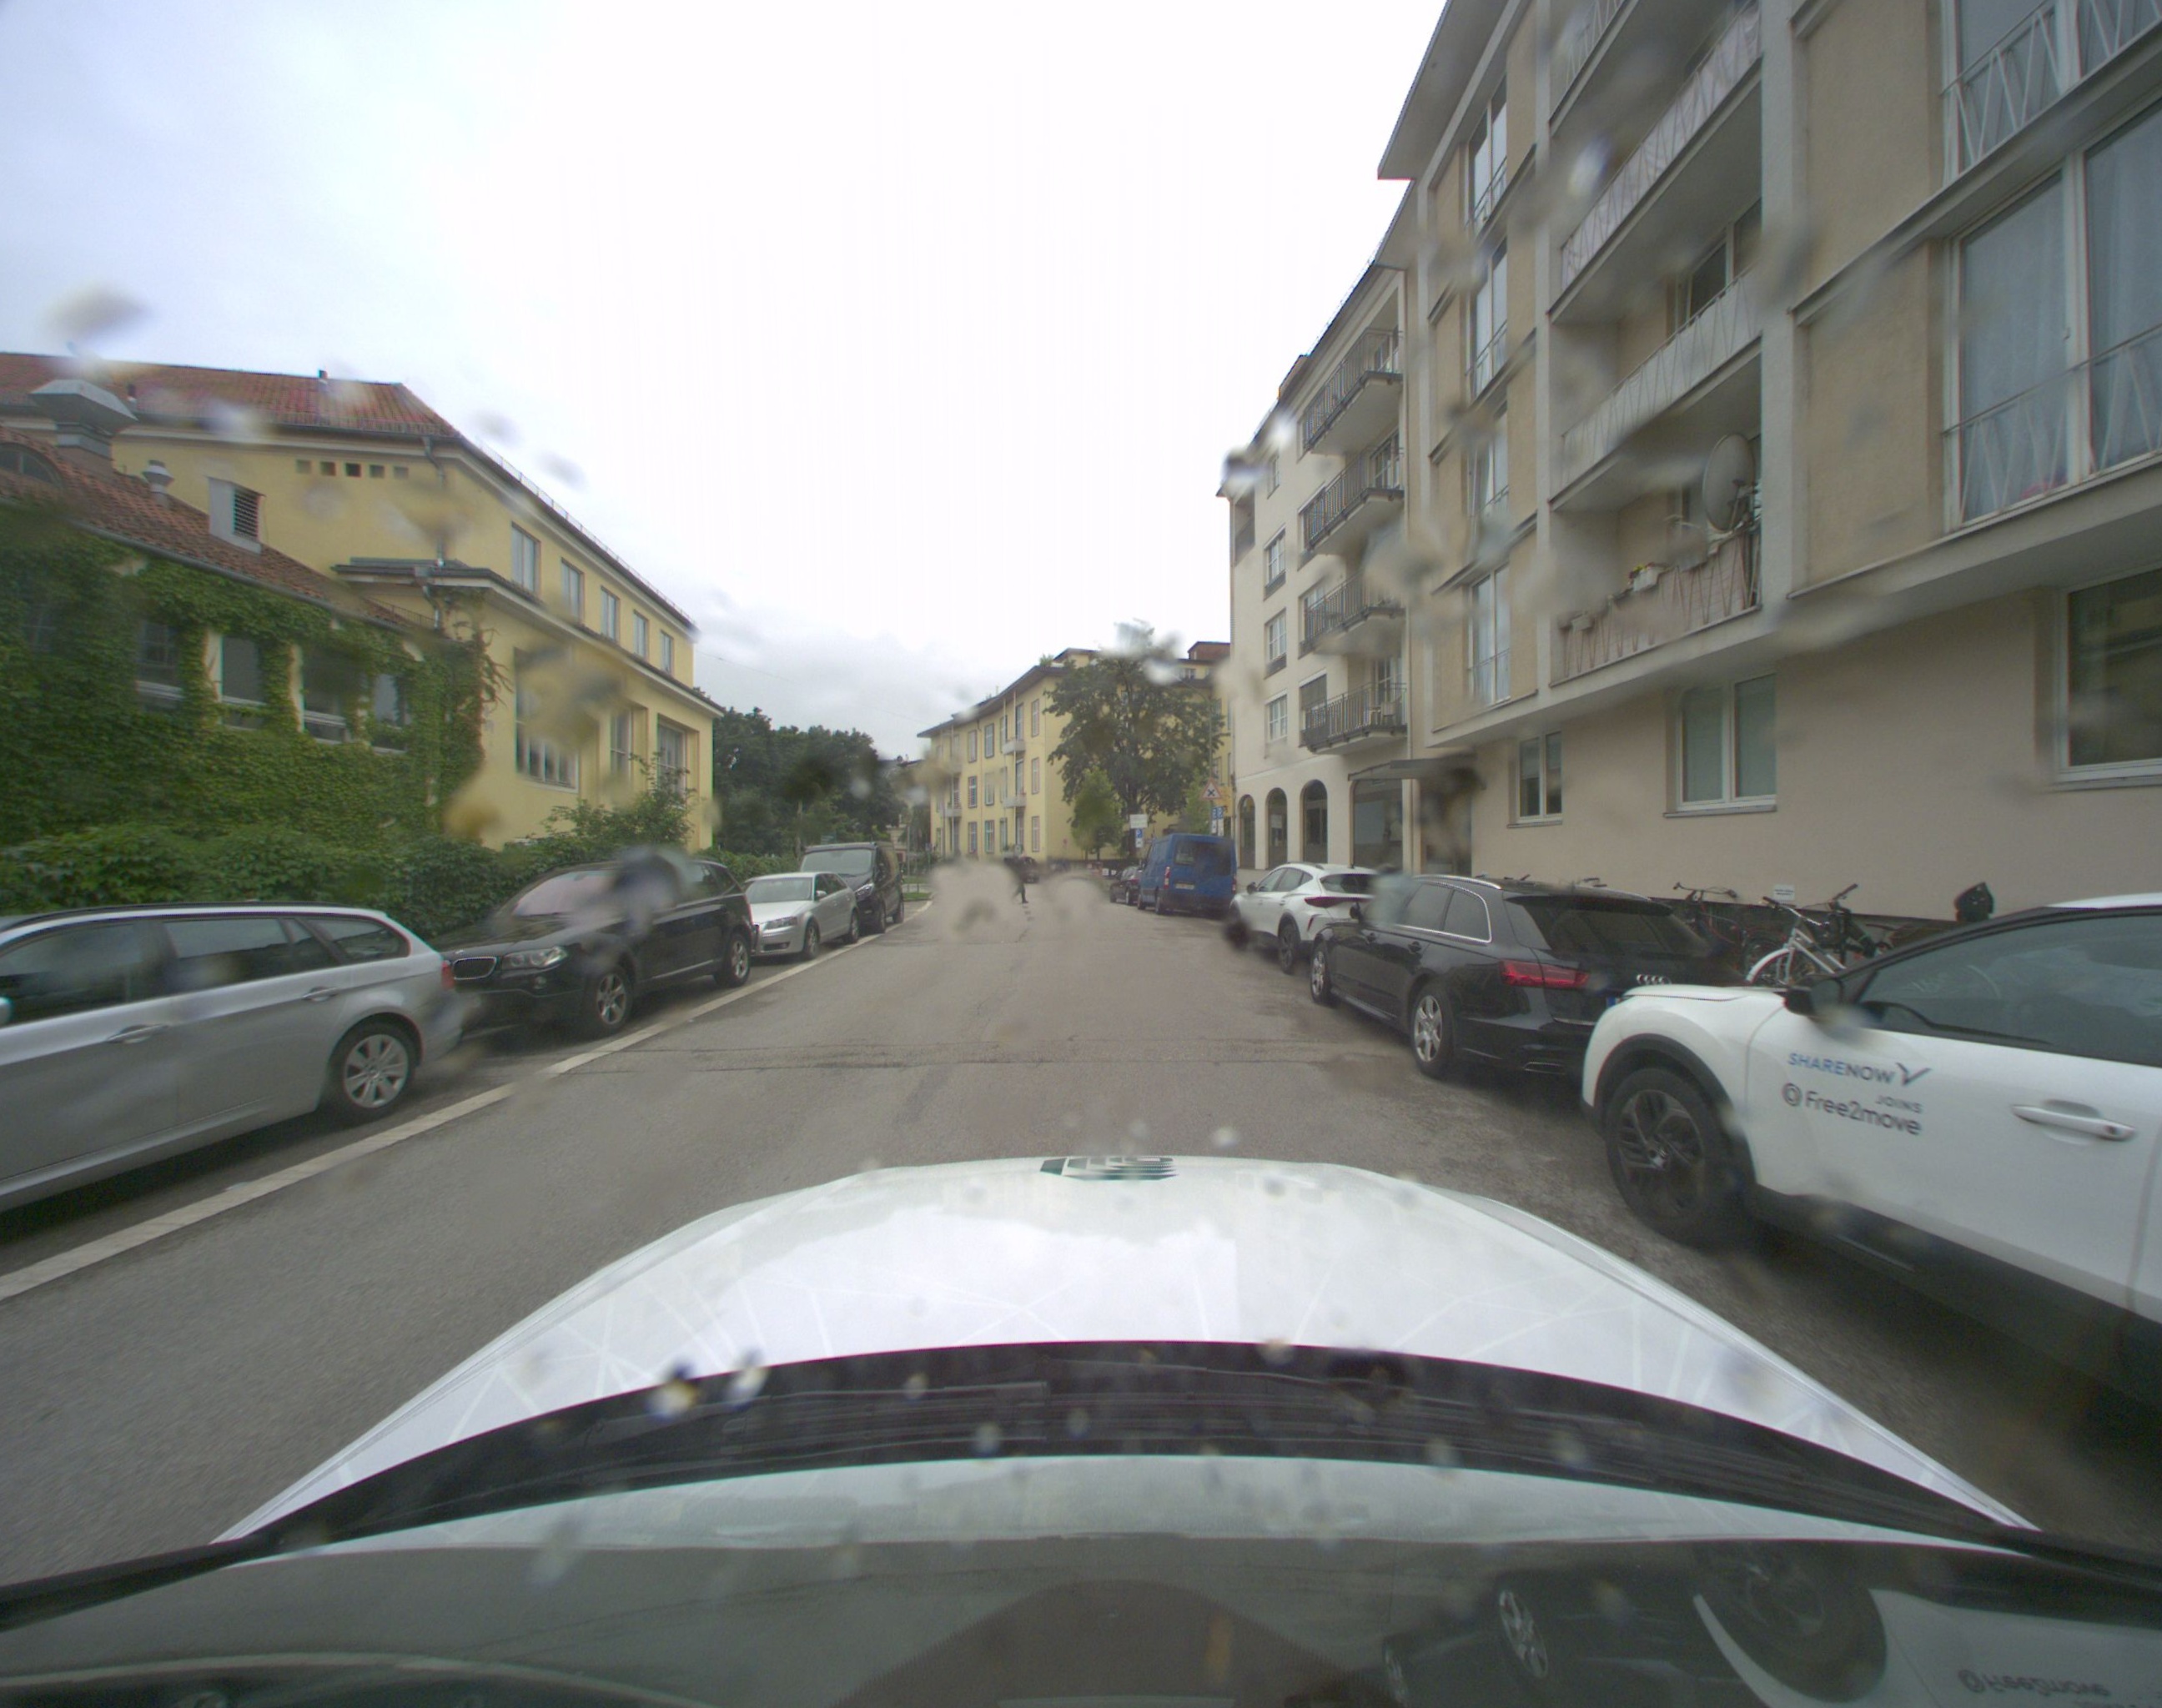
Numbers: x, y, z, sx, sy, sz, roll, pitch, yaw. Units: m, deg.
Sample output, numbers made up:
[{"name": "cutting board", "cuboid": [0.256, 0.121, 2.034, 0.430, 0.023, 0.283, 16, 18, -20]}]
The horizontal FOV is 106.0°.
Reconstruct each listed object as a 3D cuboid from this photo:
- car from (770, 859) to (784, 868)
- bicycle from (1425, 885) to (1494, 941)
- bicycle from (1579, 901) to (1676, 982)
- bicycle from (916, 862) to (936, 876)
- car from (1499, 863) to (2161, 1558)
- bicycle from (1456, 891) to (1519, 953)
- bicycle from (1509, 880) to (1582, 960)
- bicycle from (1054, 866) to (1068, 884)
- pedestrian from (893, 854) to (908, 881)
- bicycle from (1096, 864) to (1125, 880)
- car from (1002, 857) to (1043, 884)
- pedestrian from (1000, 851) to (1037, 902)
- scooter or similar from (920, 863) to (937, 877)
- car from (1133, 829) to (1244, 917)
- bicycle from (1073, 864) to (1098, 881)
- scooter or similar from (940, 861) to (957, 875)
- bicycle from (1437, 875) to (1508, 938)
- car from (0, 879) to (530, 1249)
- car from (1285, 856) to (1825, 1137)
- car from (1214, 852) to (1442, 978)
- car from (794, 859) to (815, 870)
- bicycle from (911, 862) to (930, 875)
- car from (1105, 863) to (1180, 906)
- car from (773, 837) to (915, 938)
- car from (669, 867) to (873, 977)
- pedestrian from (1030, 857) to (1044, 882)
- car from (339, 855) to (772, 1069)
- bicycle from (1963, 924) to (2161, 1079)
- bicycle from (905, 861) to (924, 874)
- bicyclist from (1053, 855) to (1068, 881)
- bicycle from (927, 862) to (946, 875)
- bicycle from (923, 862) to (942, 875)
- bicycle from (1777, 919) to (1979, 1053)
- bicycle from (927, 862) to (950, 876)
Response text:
[{"name": "car", "cuboid": [-52.612, 1.672, 140.902, 2.003, 1.606, 3.967, 0, -1, -25]}, {"name": "bicycle", "cuboid": [7.050, 1.081, 15.245, 0.454, 0.923, 1.734, 0, 0, -2]}, {"name": "bicycle", "cuboid": [7.092, 1.109, 10.631, 0.376, 0.905, 1.392, 0, 0, 2]}, {"name": "bicycle", "cuboid": [-15.619, 1.488, 82.023, 0.725, 1.305, 2.169, -1, 0, 28]}, {"name": "car", "cuboid": [3.218, 0.818, 2.266, 1.689, 1.489, 4.578, 2, 0, -1]}, {"name": "bicycle", "cuboid": [6.648, 1.087, 13.379, 0.376, 0.905, 1.392, 0, 0, 2]}, {"name": "bicycle", "cuboid": [7.087, 0.978, 12.484, 0.376, 1.119, 1.392, 0, 0, 2]}, {"name": "bicycle", "cuboid": [-1.273, 1.302, 50.909, 0.670, 1.159, 1.997, 0, -1, -8]}, {"name": "pedestrian", "cuboid": [-13.280, 0.999, 59.953, 0.929, 2.014, 0.955, 0, 0, -4]}, {"name": "bicycle", "cuboid": [2.201, 1.344, 60.649, 2.052, 1.201, 0.597, 0, 0, 14]}, {"name": "car", "cuboid": [-4.404, 1.205, 60.935, 1.768, 1.874, 4.348, 4, -1, -21]}, {"name": "pedestrian", "cuboid": [-2.254, 0.832, 29.500, 0.923, 1.801, 0.962, -3, -4, 44]}, {"name": "scooter or similar", "cuboid": [-15.249, 1.603, 81.500, 0.725, 1.305, 1.740, 0, 0, 24]}, {"name": "car", "cuboid": [3.049, 0.543, 24.321, 2.075, 2.234, 5.235, 4, -1, -5]}, {"name": "bicycle", "cuboid": [0.338, 1.397, 61.849, 1.903, 1.201, 0.599, 0, 0, 38]}, {"name": "scooter or similar", "cuboid": [-12.614, 1.353, 77.591, 0.726, 1.305, 2.165, 0, 0, 16]}, {"name": "bicycle", "cuboid": [7.584, 0.981, 15.859, 0.454, 1.110, 1.853, 0, 0, -2]}, {"name": "car", "cuboid": [-5.222, 0.946, 3.965, 1.647, 1.414, 4.772, -4, 0, 2]}, {"name": "car", "cuboid": [3.390, 0.827, 7.298, 1.873, 1.522, 5.164, 3, 0, 1]}, {"name": "car", "cuboid": [3.517, 0.782, 12.626, 1.782, 1.533, 4.641, 3, 0, -4]}, {"name": "car", "cuboid": [-41.869, 1.640, 123.176, 2.008, 1.606, 3.957, 0, -1, -35]}, {"name": "bicycle", "cuboid": [-16.246, 1.466, 82.632, 0.725, 1.305, 2.169, -1, 0, 28]}, {"name": "car", "cuboid": [2.210, 1.101, 30.474, 1.677, 1.389, 4.289, 4, -1, -11]}, {"name": "car", "cuboid": [-5.380, 0.705, 19.285, 2.069, 1.964, 5.341, -2, 0, -4]}, {"name": "car", "cuboid": [-5.081, 1.020, 14.091, 1.689, 1.393, 4.500, -5, 0, 0]}, {"name": "pedestrian", "cuboid": [-3.332, 1.176, 61.136, 0.877, 1.823, 0.793, 0, 0, -20]}, {"name": "car", "cuboid": [-5.102, 0.880, 8.829, 1.692, 1.643, 4.489, -3, 0, 0]}, {"name": "bicycle", "cuboid": [7.250, 1.016, 5.840, 0.376, 0.905, 1.392, 0, 0, 2]}, {"name": "bicycle", "cuboid": [-17.174, 1.365, 84.260, 0.725, 1.305, 2.169, -1, 0, 28]}, {"name": "bicyclist", "cuboid": [-1.295, 0.878, 51.029, 0.863, 1.607, 0.944, 0, -1, -9]}, {"name": "bicycle", "cuboid": [-14.271, 1.422, 80.396, 0.725, 1.305, 2.169, -1, 0, 28]}, {"name": "bicycle", "cuboid": [-14.787, 1.418, 81.184, 0.725, 1.305, 2.169, -1, 0, 28]}, {"name": "bicycle", "cuboid": [6.703, 1.068, 6.940, 0.376, 0.905, 1.392, -1, 0, 2]}, {"name": "bicycle", "cuboid": [-13.678, 1.442, 78.356, 0.725, 1.305, 2.169, -1, -1, 45]}]
